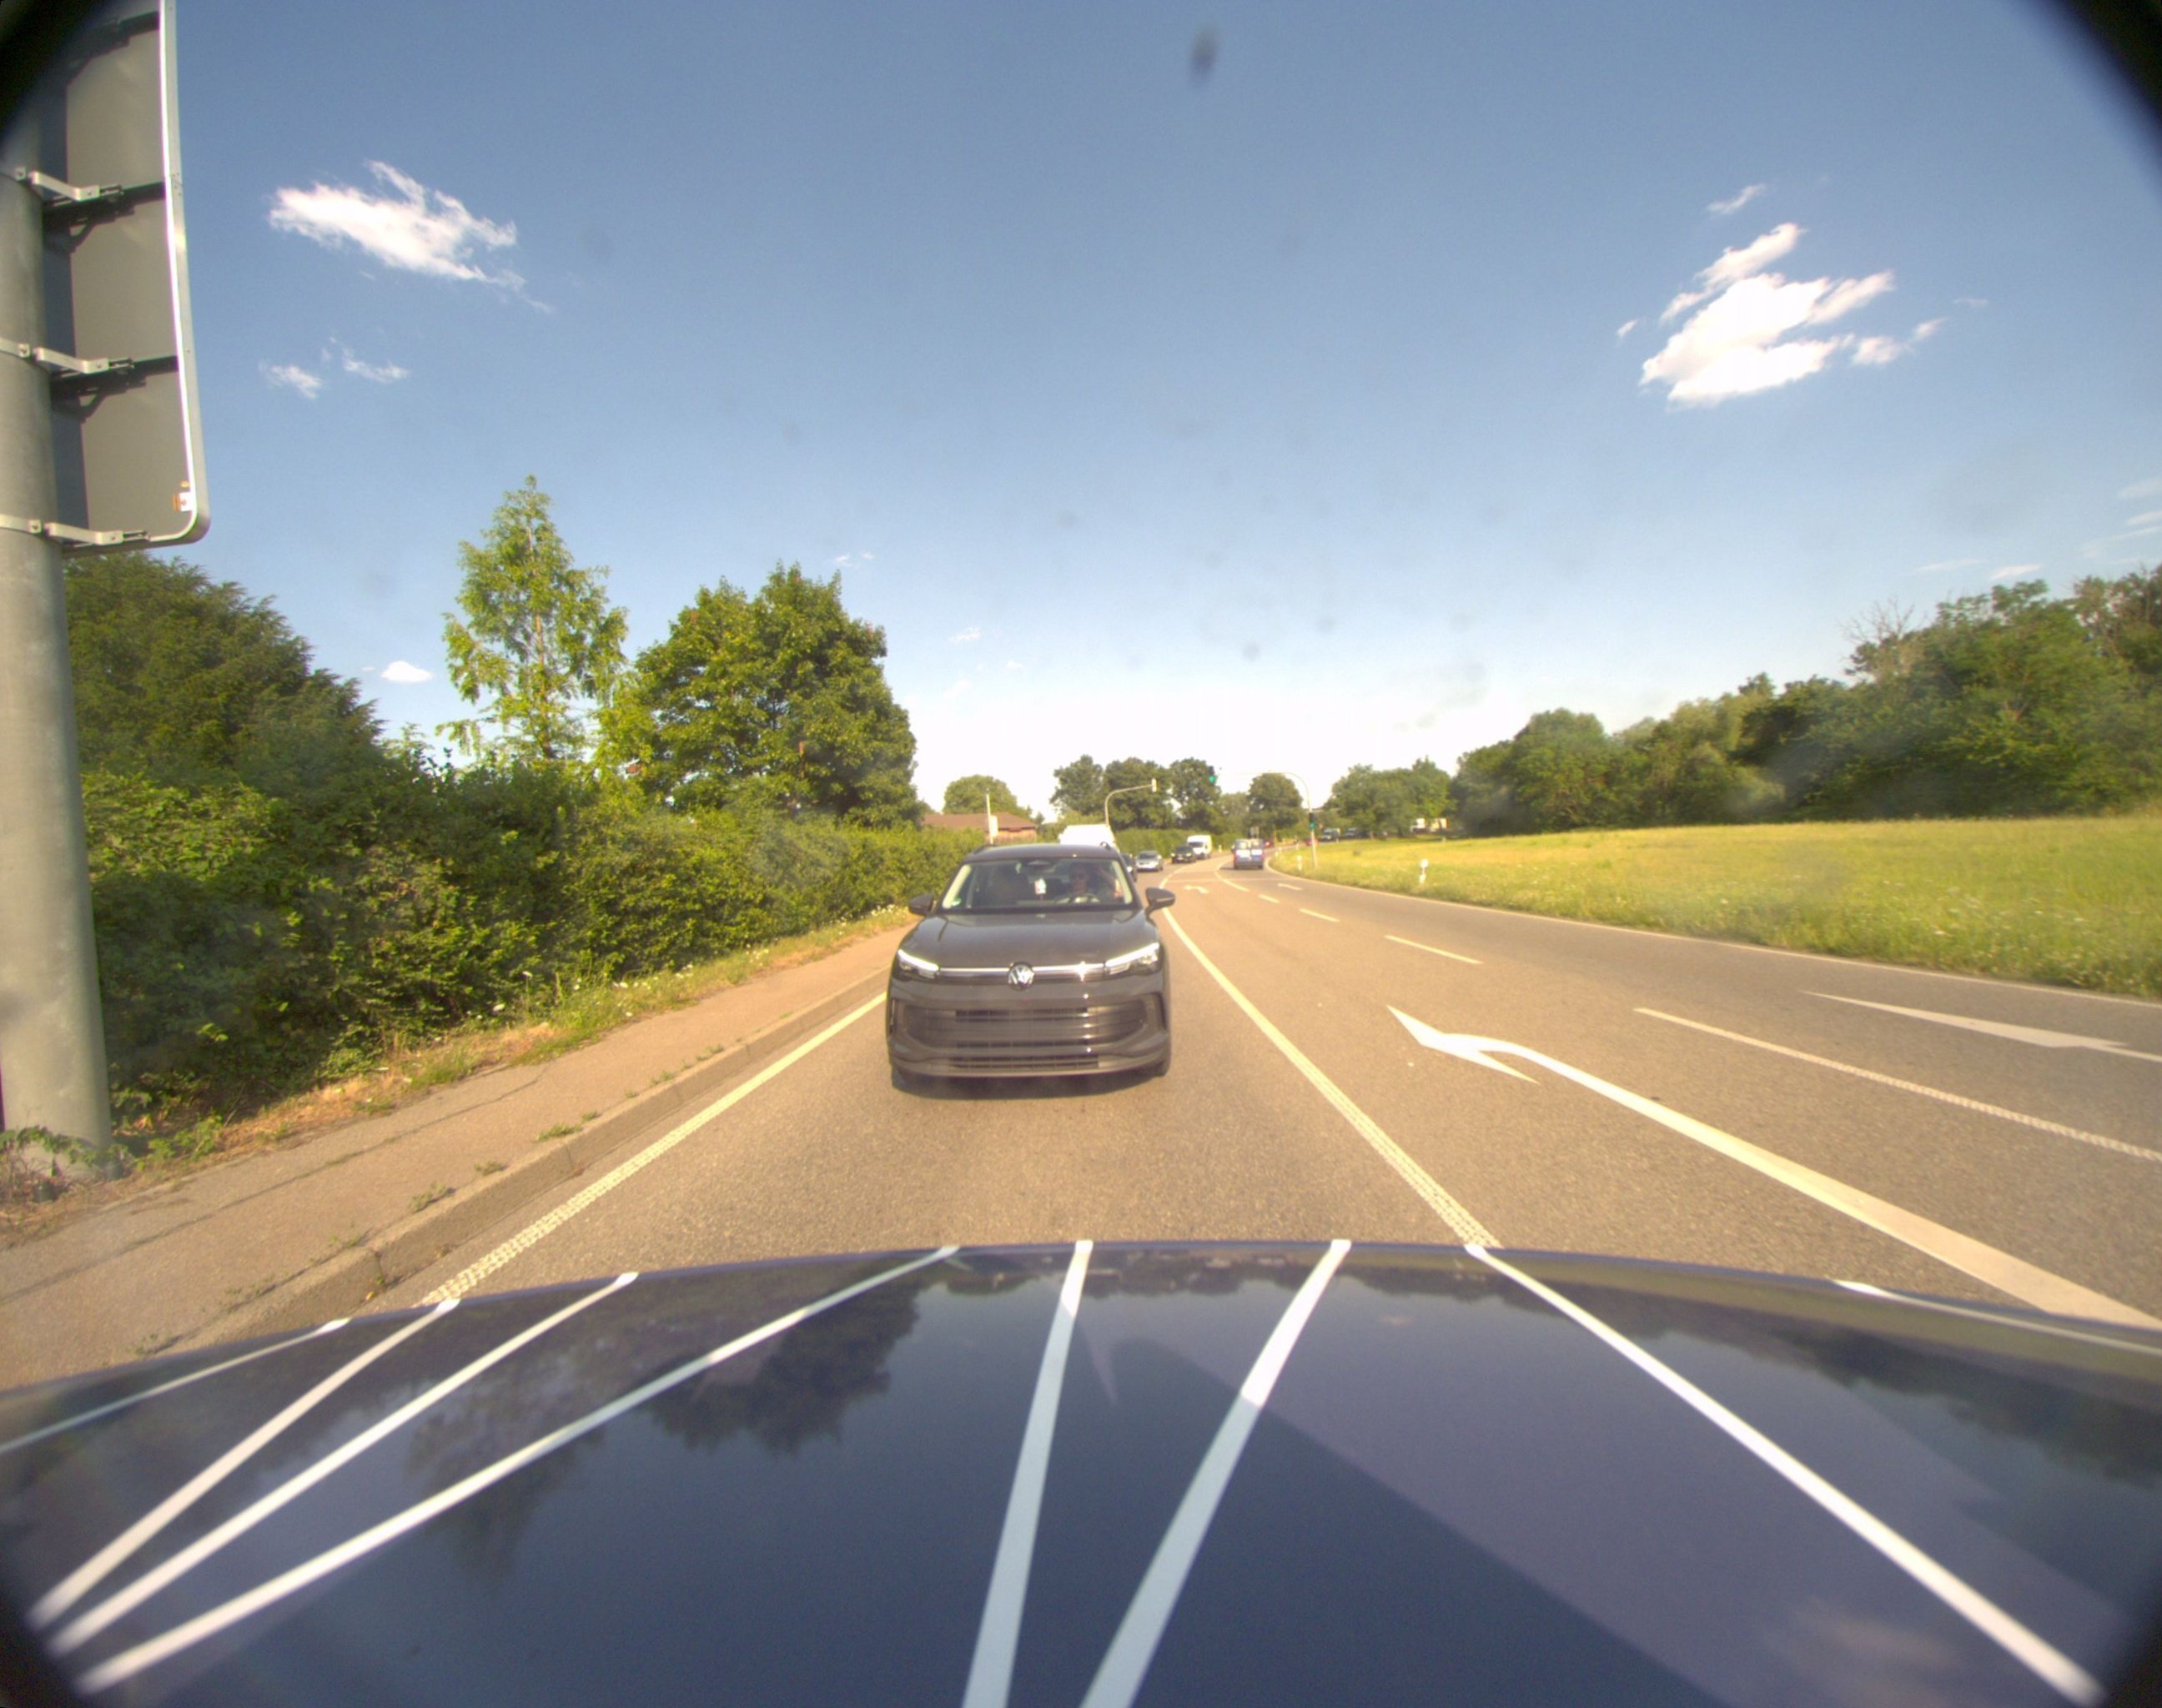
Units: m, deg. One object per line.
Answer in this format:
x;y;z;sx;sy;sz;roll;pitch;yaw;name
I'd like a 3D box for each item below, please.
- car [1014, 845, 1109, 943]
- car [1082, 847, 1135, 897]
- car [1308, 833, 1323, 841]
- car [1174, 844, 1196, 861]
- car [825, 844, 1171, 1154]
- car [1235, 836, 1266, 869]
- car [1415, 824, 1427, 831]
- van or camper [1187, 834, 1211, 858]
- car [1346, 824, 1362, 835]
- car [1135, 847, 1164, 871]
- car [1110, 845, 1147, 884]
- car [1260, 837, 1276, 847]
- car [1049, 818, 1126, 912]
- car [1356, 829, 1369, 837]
-0.285;0.700;15.453;1.659;1.720;3.804;-1;1;2;car
1.094;0.618;28.159;1.693;1.718;3.669;-1;1;6;car
42.512;-3.110;137.867;1.586;1.458;3.614;-1;0;33;car
9.723;-0.142;70.939;1.605;1.471;3.620;0;1;14;car
-0.379;0.783;6.162;1.865;1.633;4.000;-1;2;2;car
11.973;-0.135;53.924;2.001;2.124;4.783;-2;0;11;car
87.804;-6.861;196.357;3.625;1.685;1.635;-3;2;-44;car
12.781;-0.894;81.960;2.032;2.461;5.082;-4;0;14;van or camper
63.880;-5.796;177.770;1.995;2.373;4.944;-4;1;35;car
4.774;0.330;52.669;1.633;1.549;3.420;-1;0;11;car
2.351;0.467;36.989;1.673;1.718;3.668;0;2;6;car
32.031;-2.077;130.184;1.671;1.471;3.499;-4;0;28;car
0.304;0.277;21.631;1.844;2.338;4.790;-1;0;4;car
62.960;-4.683;169.891;1.725;1.871;4.344;-1;0;36;car
